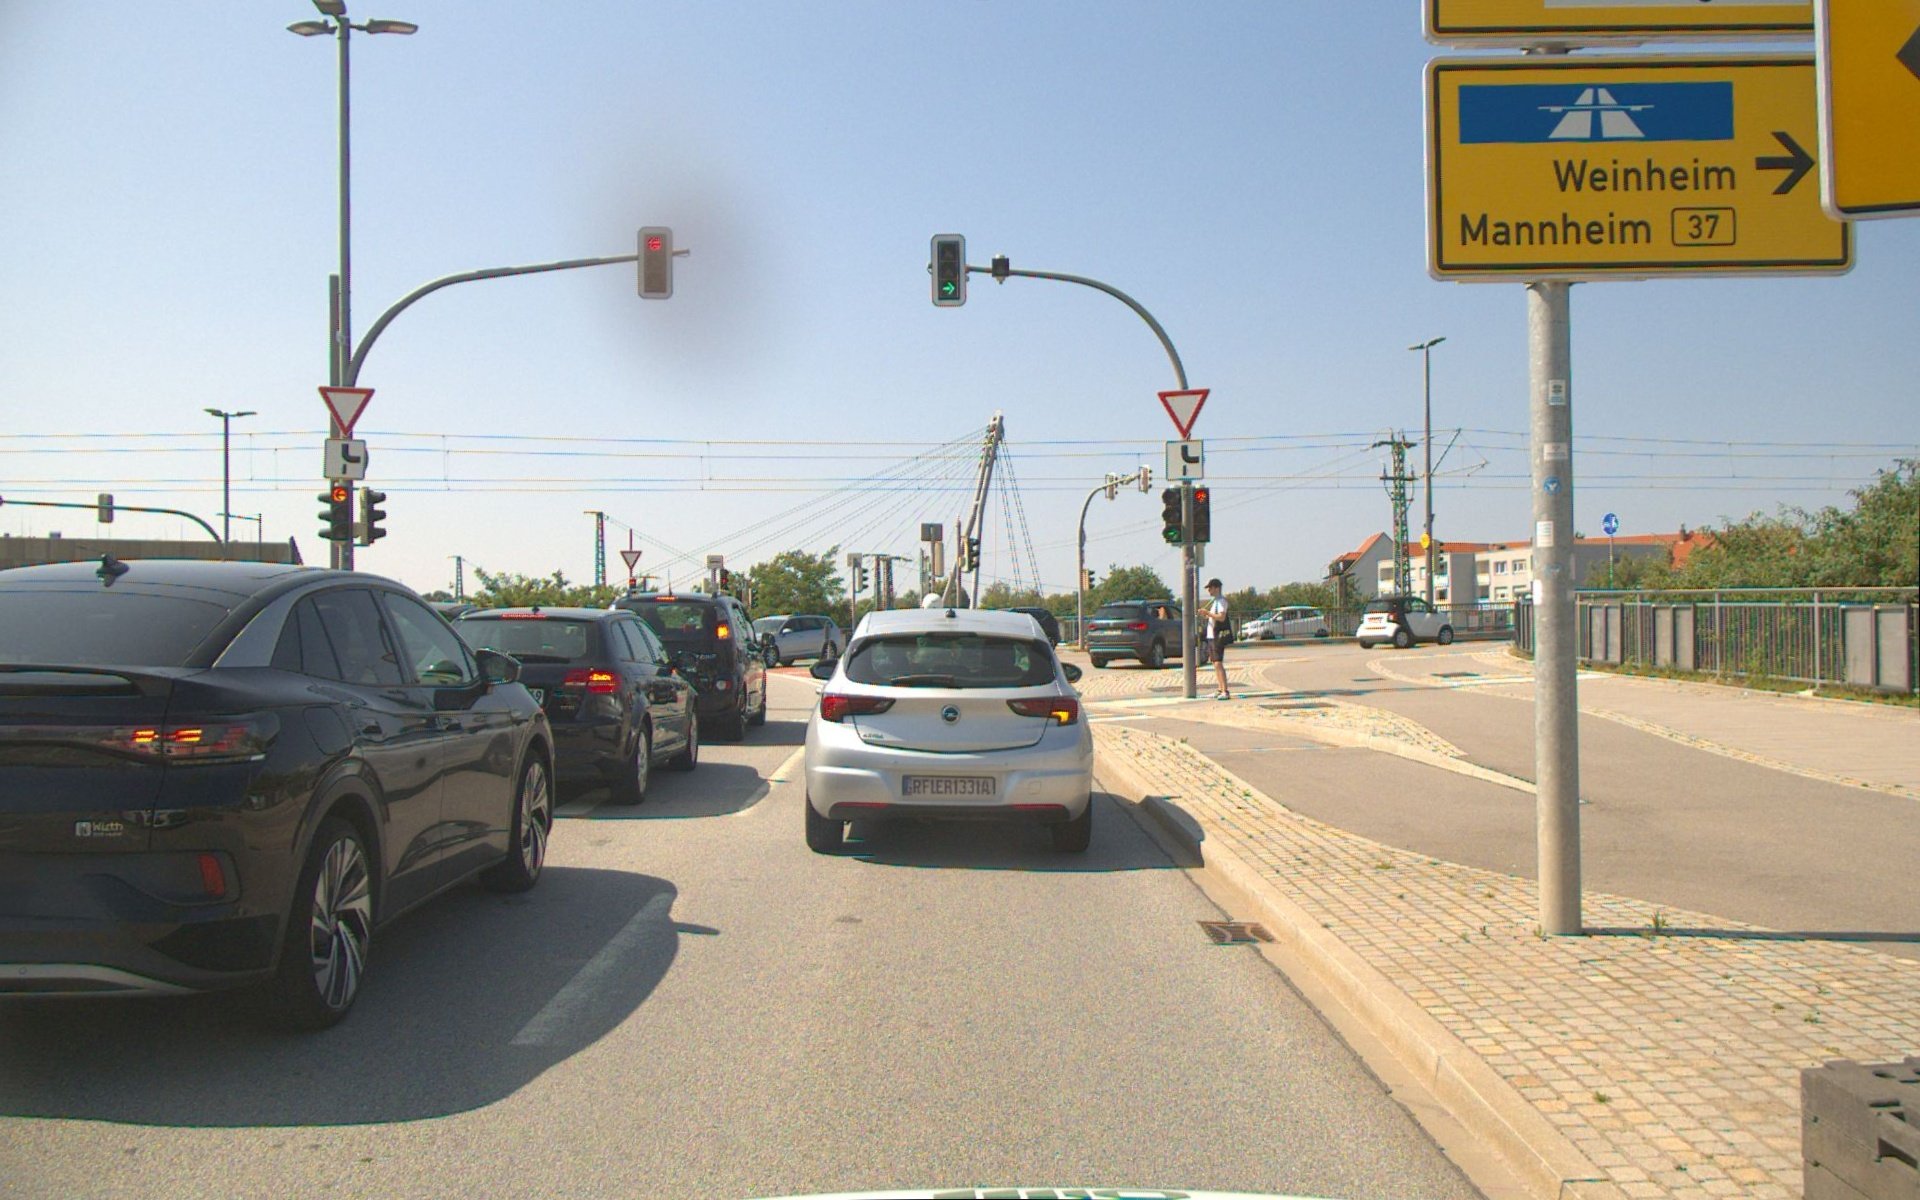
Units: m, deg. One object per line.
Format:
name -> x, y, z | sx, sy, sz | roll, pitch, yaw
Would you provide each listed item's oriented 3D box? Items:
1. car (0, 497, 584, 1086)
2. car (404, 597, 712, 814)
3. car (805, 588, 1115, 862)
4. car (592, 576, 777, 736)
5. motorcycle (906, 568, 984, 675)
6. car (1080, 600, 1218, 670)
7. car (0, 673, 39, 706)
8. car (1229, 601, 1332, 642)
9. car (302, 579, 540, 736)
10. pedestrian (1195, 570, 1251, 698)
car -> -2.967, 0.562, 6.907 | 1.765, 1.670, 4.365 | 1, -1, 0
car -> -3.034, 0.746, 13.217 | 1.543, 1.459, 3.785 | 1, -1, -1
car -> -0.079, 0.727, 11.265 | 1.708, 1.504, 3.998 | 1, -1, -2
car -> -3.088, 0.606, 19.219 | 1.616, 1.644, 3.818 | 1, -1, -2
motorcycle -> -0.191, 0.276, 18.387 | 0.492, 1.031, 2.169 | -7, -3, -8
car -> 4.721, 0.837, 40.865 | 1.695, 1.591, 3.986 | 1, 0, 35
car -> -43.465, 4.076, 75.885 | 1.594, 1.362, 2.883 | 2, -1, -40
car -> 12.381, 0.833, 63.916 | 3.570, 1.512, 1.680 | 1, -1, -20
car -> -5.998, 0.613, 18.832 | 1.565, 1.574, 3.760 | 1, -1, -2
pedestrian -> 3.943, 0.502, 24.798 | 0.634, 1.868, 0.797 | -2, -1, -2
